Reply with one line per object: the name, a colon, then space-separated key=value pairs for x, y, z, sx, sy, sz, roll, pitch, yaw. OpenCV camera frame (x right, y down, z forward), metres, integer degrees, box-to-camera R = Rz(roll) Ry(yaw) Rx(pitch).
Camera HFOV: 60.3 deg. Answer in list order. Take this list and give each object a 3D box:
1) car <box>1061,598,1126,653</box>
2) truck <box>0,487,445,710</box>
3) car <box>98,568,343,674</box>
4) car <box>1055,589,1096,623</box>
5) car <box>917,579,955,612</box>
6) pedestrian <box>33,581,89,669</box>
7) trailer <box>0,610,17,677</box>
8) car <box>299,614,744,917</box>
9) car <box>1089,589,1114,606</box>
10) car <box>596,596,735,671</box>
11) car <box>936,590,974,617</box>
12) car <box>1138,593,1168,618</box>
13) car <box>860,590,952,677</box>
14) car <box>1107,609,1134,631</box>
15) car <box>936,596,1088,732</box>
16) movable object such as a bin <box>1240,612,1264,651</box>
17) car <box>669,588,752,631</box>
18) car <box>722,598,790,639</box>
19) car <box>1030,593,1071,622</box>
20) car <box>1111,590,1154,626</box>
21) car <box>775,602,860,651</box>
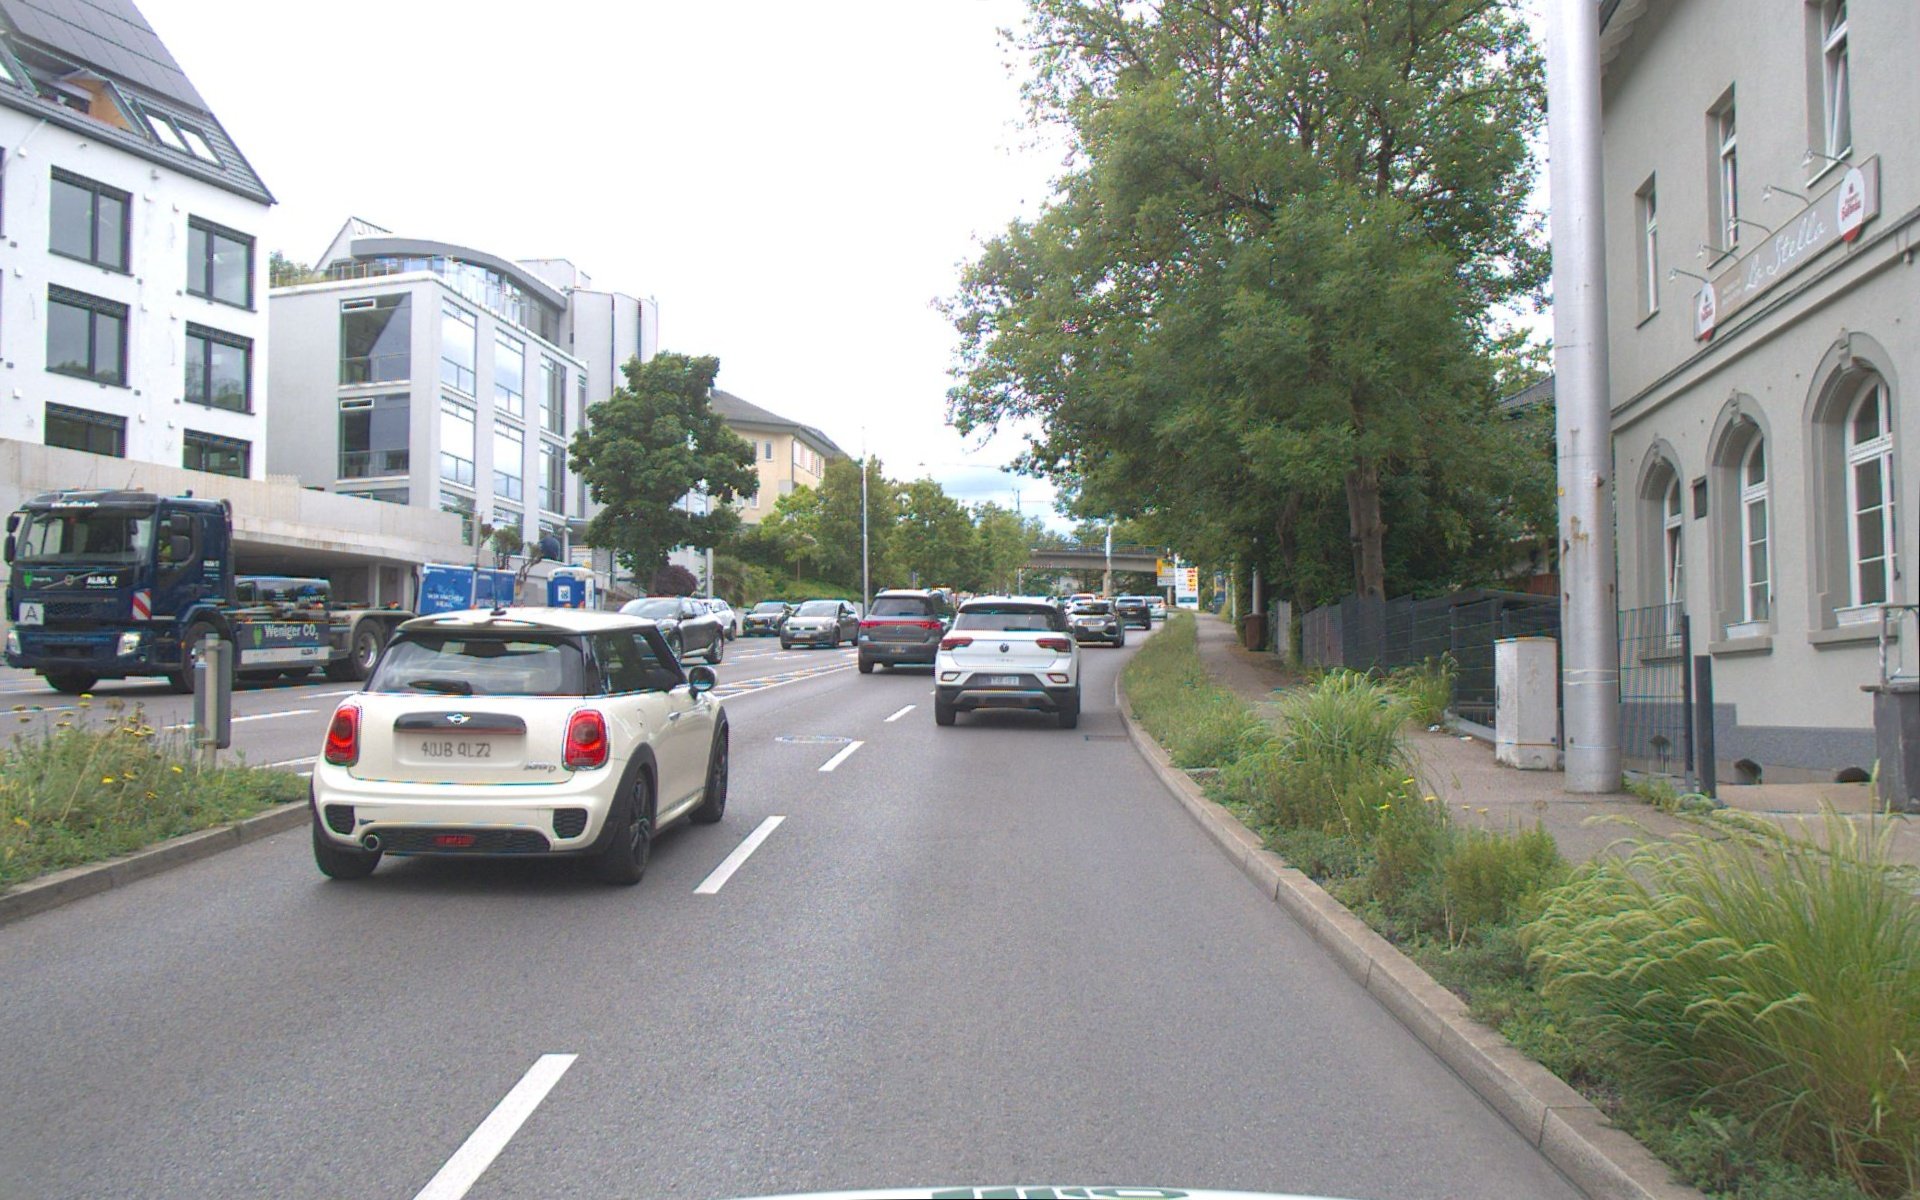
car: x=4.174 y=0.774 z=51.531 sx=1.834 sy=1.527 sz=4.557 roll=3 pitch=0 yaw=5
truck: x=-11.908 y=-0.070 z=27.179 sx=2.898 sy=3.023 sz=8.986 roll=1 pitch=1 yaw=9
car: x=-15.086 y=0.367 z=34.118 sx=1.940 sy=2.001 sz=5.223 roll=0 pitch=0 yaw=11
car: x=6.083 y=0.301 z=86.899 sx=1.818 sy=1.681 sz=4.640 roll=0 pitch=1 yaw=8
car: x=-1.764 y=-0.343 z=121.943 sx=2.024 sy=2.346 sz=5.469 roll=0 pitch=0 yaw=7
pedestrian: x=-17.582 y=0.479 z=32.362 sx=0.613 sy=1.669 sz=0.672 roll=2 pitch=0 yaw=21
trailer: x=-17.544 y=0.750 z=26.213 sx=2.199 sy=1.131 sz=4.626 roll=0 pitch=0 yaw=7
car: x=-2.388 y=0.830 z=9.900 sx=1.594 sy=1.417 sz=3.567 roll=0 pitch=1 yaw=2
car: x=13.088 y=-0.278 z=153.215 sx=1.821 sy=1.526 sz=4.054 roll=0 pitch=1 yaw=-2
car: x=-6.494 y=0.696 z=36.956 sx=1.659 sy=1.522 sz=4.490 roll=1 pitch=1 yaw=9
car: x=-0.317 y=0.224 z=107.637 sx=2.025 sy=1.685 sz=4.696 roll=0 pitch=0 yaw=5
car: x=12.019 y=0.327 z=103.264 sx=1.818 sy=1.526 sz=4.059 roll=0 pitch=1 yaw=6
car: x=-1.145 y=0.637 z=34.563 sx=1.776 sy=1.681 sz=4.634 roll=0 pitch=1 yaw=-2
car: x=11.729 y=1.442 z=120.513 sx=1.818 sy=1.526 sz=4.059 roll=0 pitch=1 yaw=7
car: x=0.680 y=0.744 z=21.219 sx=1.774 sy=1.566 sz=3.691 roll=0 pitch=1 yaw=2
movable object such as a bin: x=7.459 y=0.796 z=42.219 sx=0.543 sy=0.964 sz=0.568 roll=1 pitch=0 yaw=4
car: x=-9.260 y=0.338 z=61.678 sx=1.733 sy=1.525 sz=4.308 roll=0 pitch=0 yaw=11
car: x=-8.628 y=0.764 z=70.267 sx=1.733 sy=1.662 sz=3.919 roll=0 pitch=0 yaw=11
car: x=5.361 y=0.414 z=97.720 sx=1.733 sy=1.624 sz=5.188 roll=0 pitch=0 yaw=11
car: x=8.004 y=0.371 z=76.677 sx=1.833 sy=1.527 sz=4.558 roll=3 pitch=0 yaw=7
car: x=-4.414 y=0.795 z=51.849 sx=1.804 sy=1.417 sz=4.287 roll=0 pitch=0 yaw=7
